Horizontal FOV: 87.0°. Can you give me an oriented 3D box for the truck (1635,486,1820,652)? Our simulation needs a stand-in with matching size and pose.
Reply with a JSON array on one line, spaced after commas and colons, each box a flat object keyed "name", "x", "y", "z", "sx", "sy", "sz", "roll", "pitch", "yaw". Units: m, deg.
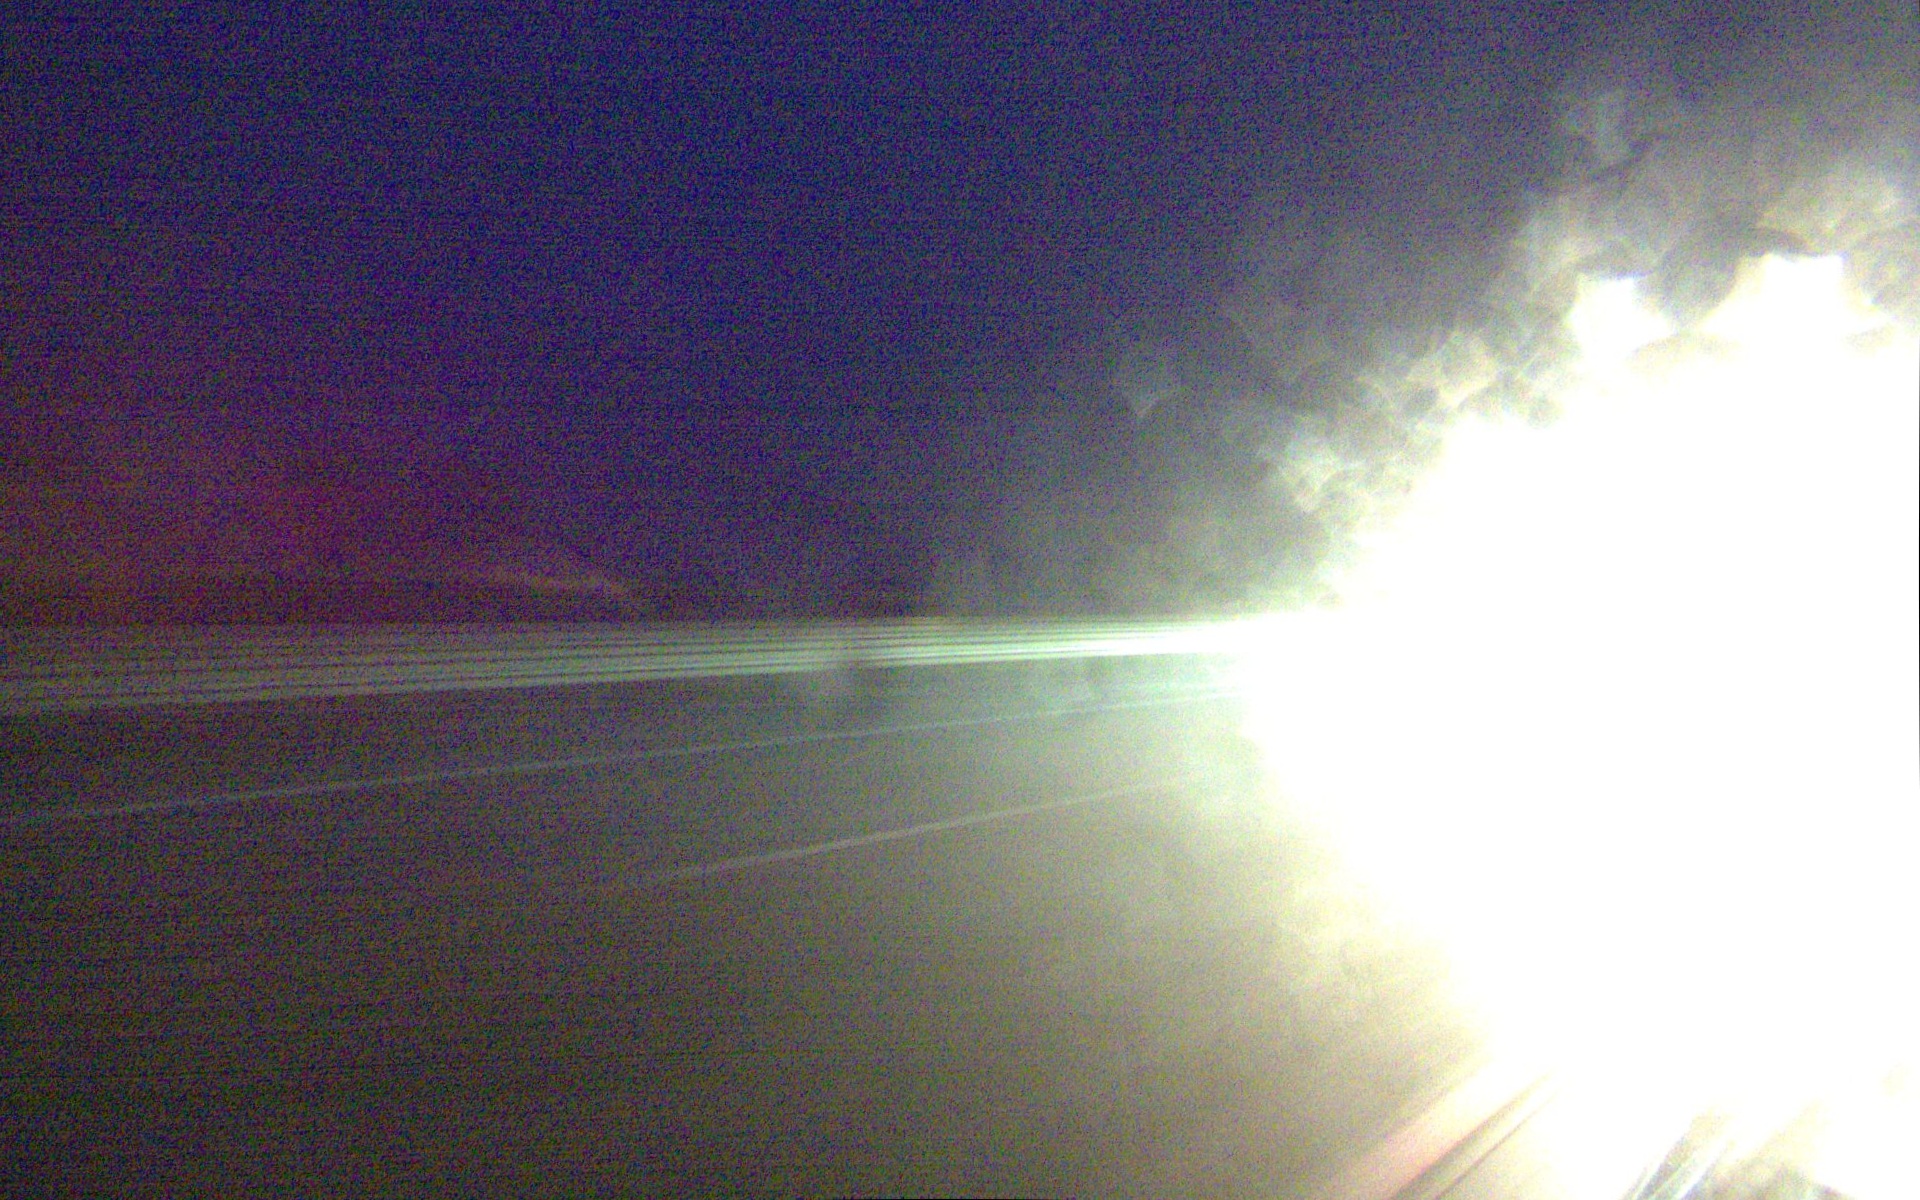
[{"name": "truck", "x": 21.613, "y": -0.789, "z": 28.394, "sx": 5.925, "sy": 4.159, "sz": 2.909, "roll": 1, "pitch": 1, "yaw": -41}]

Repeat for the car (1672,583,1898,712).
[{"name": "car", "x": 11.995, "y": 0.589, "z": 14.603, "sx": 4.414, "sy": 1.595, "sz": 1.744, "roll": 1, "pitch": 0, "yaw": -40}]

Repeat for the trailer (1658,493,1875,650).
[{"name": "trailer", "x": 26.324, "y": -0.728, "z": 32.542, "sx": 14.234, "sy": 4.159, "sz": 2.909, "roll": 1, "pitch": 1, "yaw": -41}]
